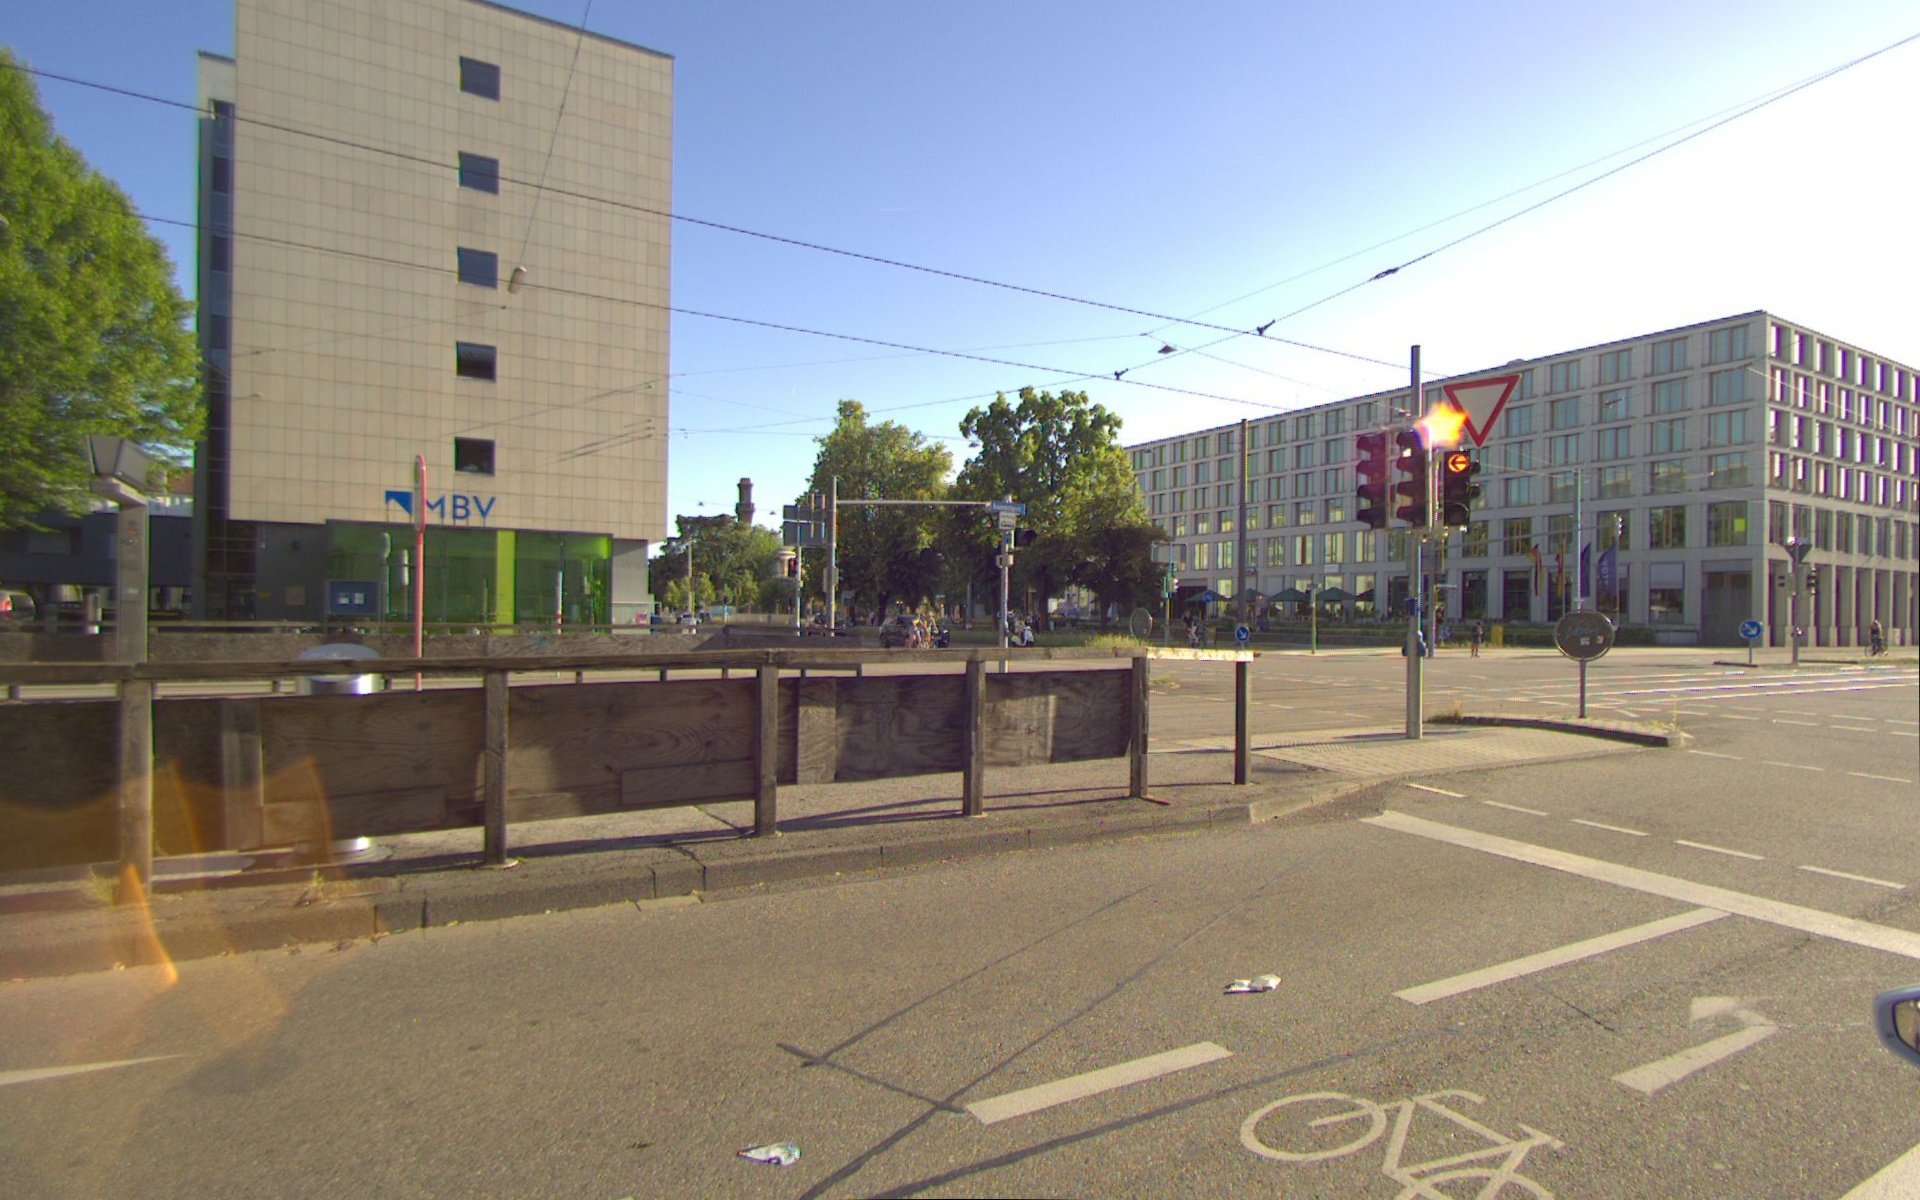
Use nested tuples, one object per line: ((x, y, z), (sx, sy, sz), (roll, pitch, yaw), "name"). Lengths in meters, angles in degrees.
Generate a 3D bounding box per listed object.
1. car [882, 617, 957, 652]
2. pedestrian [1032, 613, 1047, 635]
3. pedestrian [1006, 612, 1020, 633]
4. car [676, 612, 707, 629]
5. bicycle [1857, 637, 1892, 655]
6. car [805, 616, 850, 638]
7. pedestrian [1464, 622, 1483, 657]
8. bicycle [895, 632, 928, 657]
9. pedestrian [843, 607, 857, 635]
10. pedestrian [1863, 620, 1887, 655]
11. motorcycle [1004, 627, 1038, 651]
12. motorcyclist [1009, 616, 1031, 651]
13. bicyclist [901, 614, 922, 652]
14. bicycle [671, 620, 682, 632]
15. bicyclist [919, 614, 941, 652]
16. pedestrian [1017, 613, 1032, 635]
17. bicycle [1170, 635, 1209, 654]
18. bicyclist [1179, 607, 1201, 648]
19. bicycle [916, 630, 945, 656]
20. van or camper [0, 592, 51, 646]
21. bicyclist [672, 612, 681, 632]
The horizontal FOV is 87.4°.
((-1.968, 1.609, 47.588), (1.925, 1.561, 3.969), (2, -2, -29), "car")
((6.287, 1.891, 79.536), (0.858, 1.738, 0.737), (2, 0, -26), "pedestrian")
((4.425, 1.884, 83.891), (0.858, 1.738, 0.737), (2, 0, -26), "pedestrian")
((-25.844, 1.971, 96.675), (1.975, 1.472, 4.179), (2, 0, -28), "car")
((42.510, 2.123, 46.684), (1.694, 0.834, 0.570), (1, -1, -24), "bicycle")
((-9.156, 1.855, 69.075), (1.674, 1.506, 3.719), (1, -1, -33), "car")
((25.035, 1.933, 48.976), (0.597, 1.703, 0.602), (1, -1, -22), "pedestrian")
((-2.031, 1.853, 42.014), (0.577, 1.032, 1.806), (1, -3, -31), "bicycle")
((-8.148, 1.567, 74.132), (0.772, 2.040, 0.747), (1, -1, -31), "pedestrian")
((42.520, 1.728, 46.693), (0.734, 1.616, 0.570), (1, -1, -23), "pedestrian")
((2.854, 1.827, 46.950), (0.624, 1.030, 1.972), (-3, 1, -28), "motorcycle")
((2.814, 1.545, 46.981), (0.624, 1.601, 0.812), (-3, 1, -28), "motorcyclist")
((-2.026, 1.375, 42.011), (0.577, 1.563, 0.833), (1, -2, -32), "bicyclist")
((-24.178, 2.205, 85.725), (0.576, 1.032, 1.666), (1, -1, -27), "bicycle")
((-1.266, 1.395, 42.411), (0.576, 1.563, 0.890), (1, -1, -27), "bicyclist")
((5.133, 1.885, 79.670), (0.858, 1.738, 0.737), (2, 0, -26), "pedestrian")
((10.003, 1.917, 43.763), (1.831, 0.798, 0.532), (1, -1, -31), "bicycle")
((10.026, 1.203, 43.782), (0.762, 1.784, 0.532), (1, -1, -30), "bicyclist")
((-1.260, 1.807, 42.376), (0.576, 1.032, 1.666), (1, -1, -27), "bicycle")
((-27.881, 0.440, 27.560), (3.954, 1.425, 1.954), (4, -3, -30), "van or camper")
((-24.194, 1.868, 85.746), (0.576, 1.658, 0.890), (1, -1, -27), "bicyclist")
